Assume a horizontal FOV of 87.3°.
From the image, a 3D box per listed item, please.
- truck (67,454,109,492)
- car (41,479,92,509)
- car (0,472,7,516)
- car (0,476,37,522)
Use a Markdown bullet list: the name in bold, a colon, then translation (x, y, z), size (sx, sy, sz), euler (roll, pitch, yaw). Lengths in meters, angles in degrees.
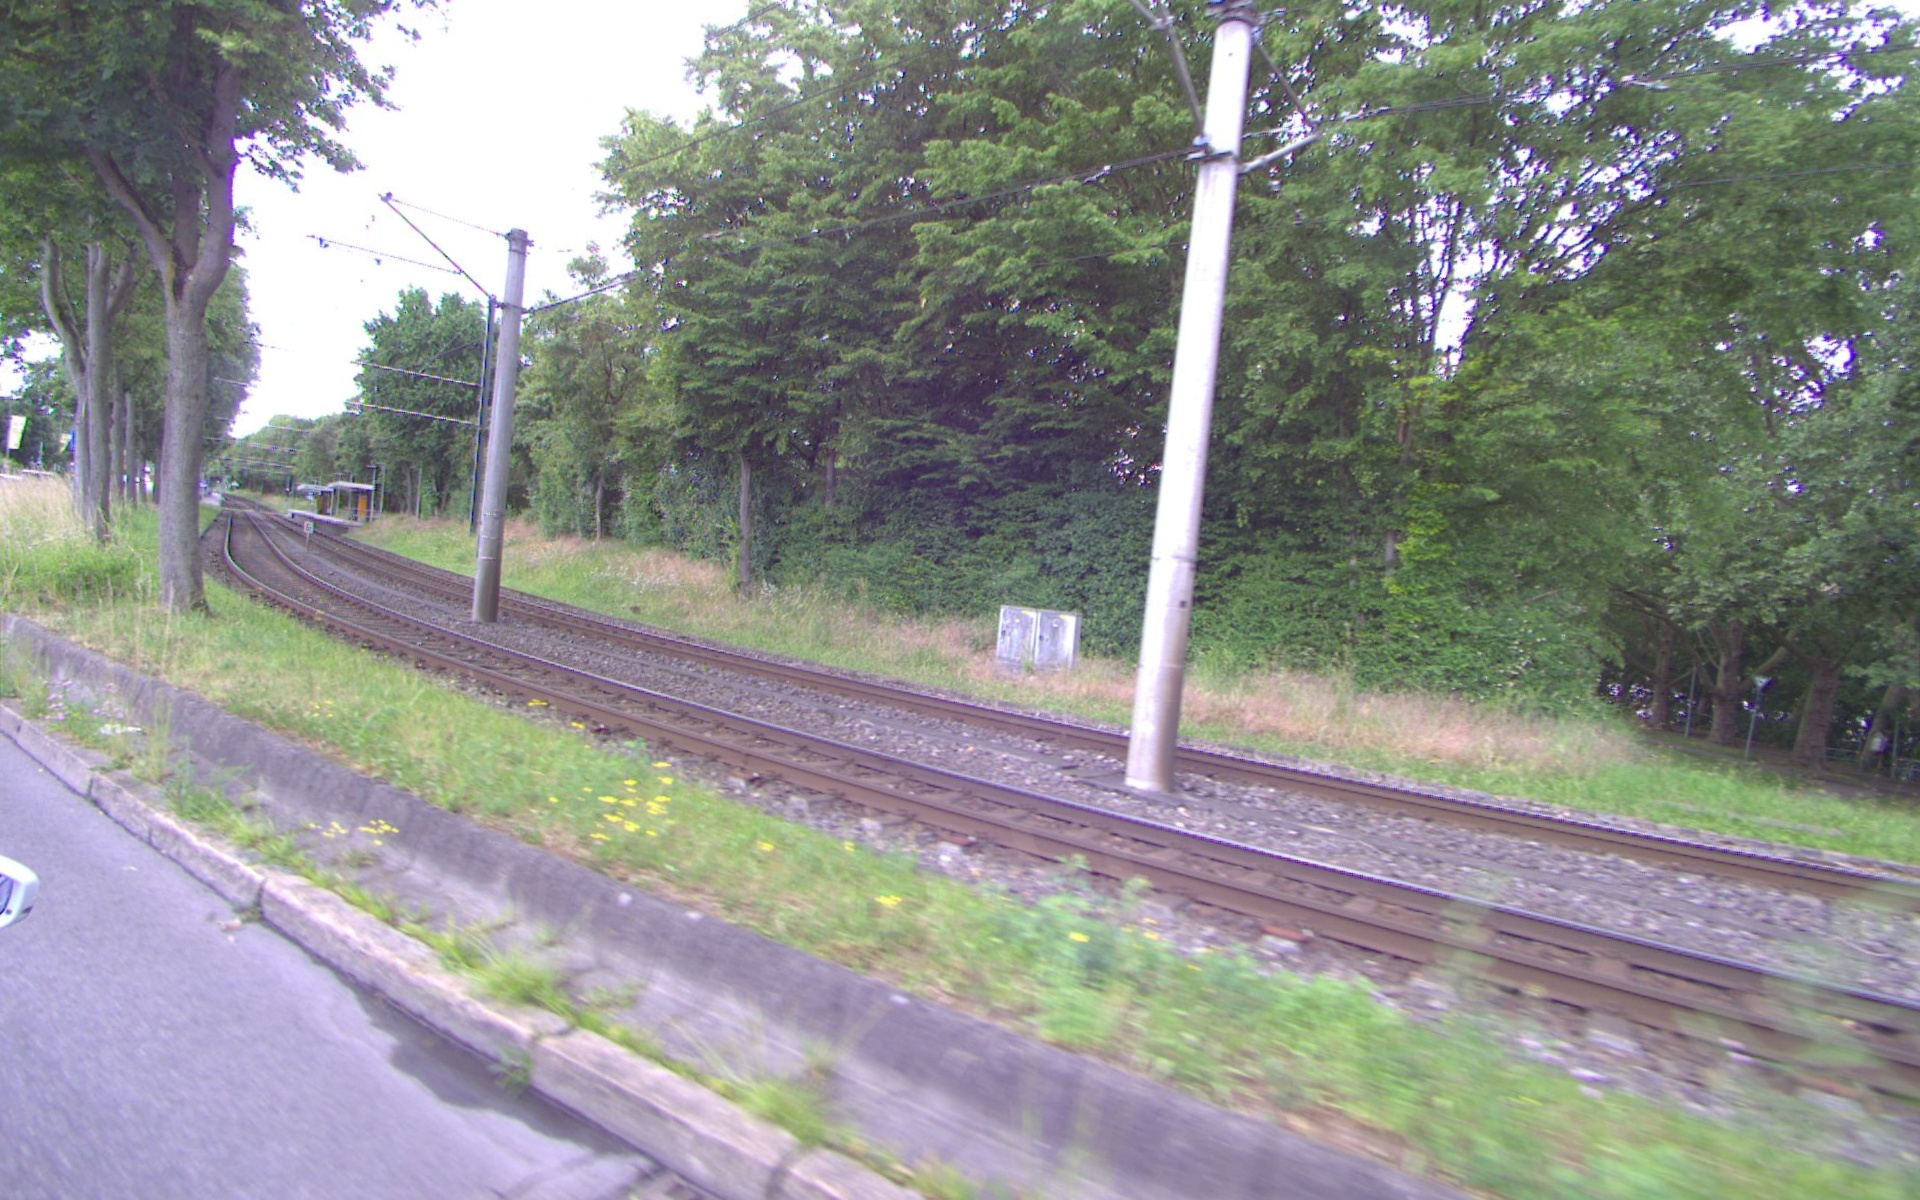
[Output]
- **truck**: translation (-111.227, -16.157, 128.427), size (2.639, 3.987, 10.014), euler (7, 0, -35)
- **car**: translation (-53.200, -6.273, 59.956), size (1.881, 1.463, 3.767), euler (6, 0, -37)
- **car**: translation (-36.178, -3.995, 36.662), size (1.798, 1.558, 3.954), euler (8, -1, -41)
- **car**: translation (-40.228, -4.261, 42.315), size (1.709, 1.714, 3.958), euler (5, -1, -39)
